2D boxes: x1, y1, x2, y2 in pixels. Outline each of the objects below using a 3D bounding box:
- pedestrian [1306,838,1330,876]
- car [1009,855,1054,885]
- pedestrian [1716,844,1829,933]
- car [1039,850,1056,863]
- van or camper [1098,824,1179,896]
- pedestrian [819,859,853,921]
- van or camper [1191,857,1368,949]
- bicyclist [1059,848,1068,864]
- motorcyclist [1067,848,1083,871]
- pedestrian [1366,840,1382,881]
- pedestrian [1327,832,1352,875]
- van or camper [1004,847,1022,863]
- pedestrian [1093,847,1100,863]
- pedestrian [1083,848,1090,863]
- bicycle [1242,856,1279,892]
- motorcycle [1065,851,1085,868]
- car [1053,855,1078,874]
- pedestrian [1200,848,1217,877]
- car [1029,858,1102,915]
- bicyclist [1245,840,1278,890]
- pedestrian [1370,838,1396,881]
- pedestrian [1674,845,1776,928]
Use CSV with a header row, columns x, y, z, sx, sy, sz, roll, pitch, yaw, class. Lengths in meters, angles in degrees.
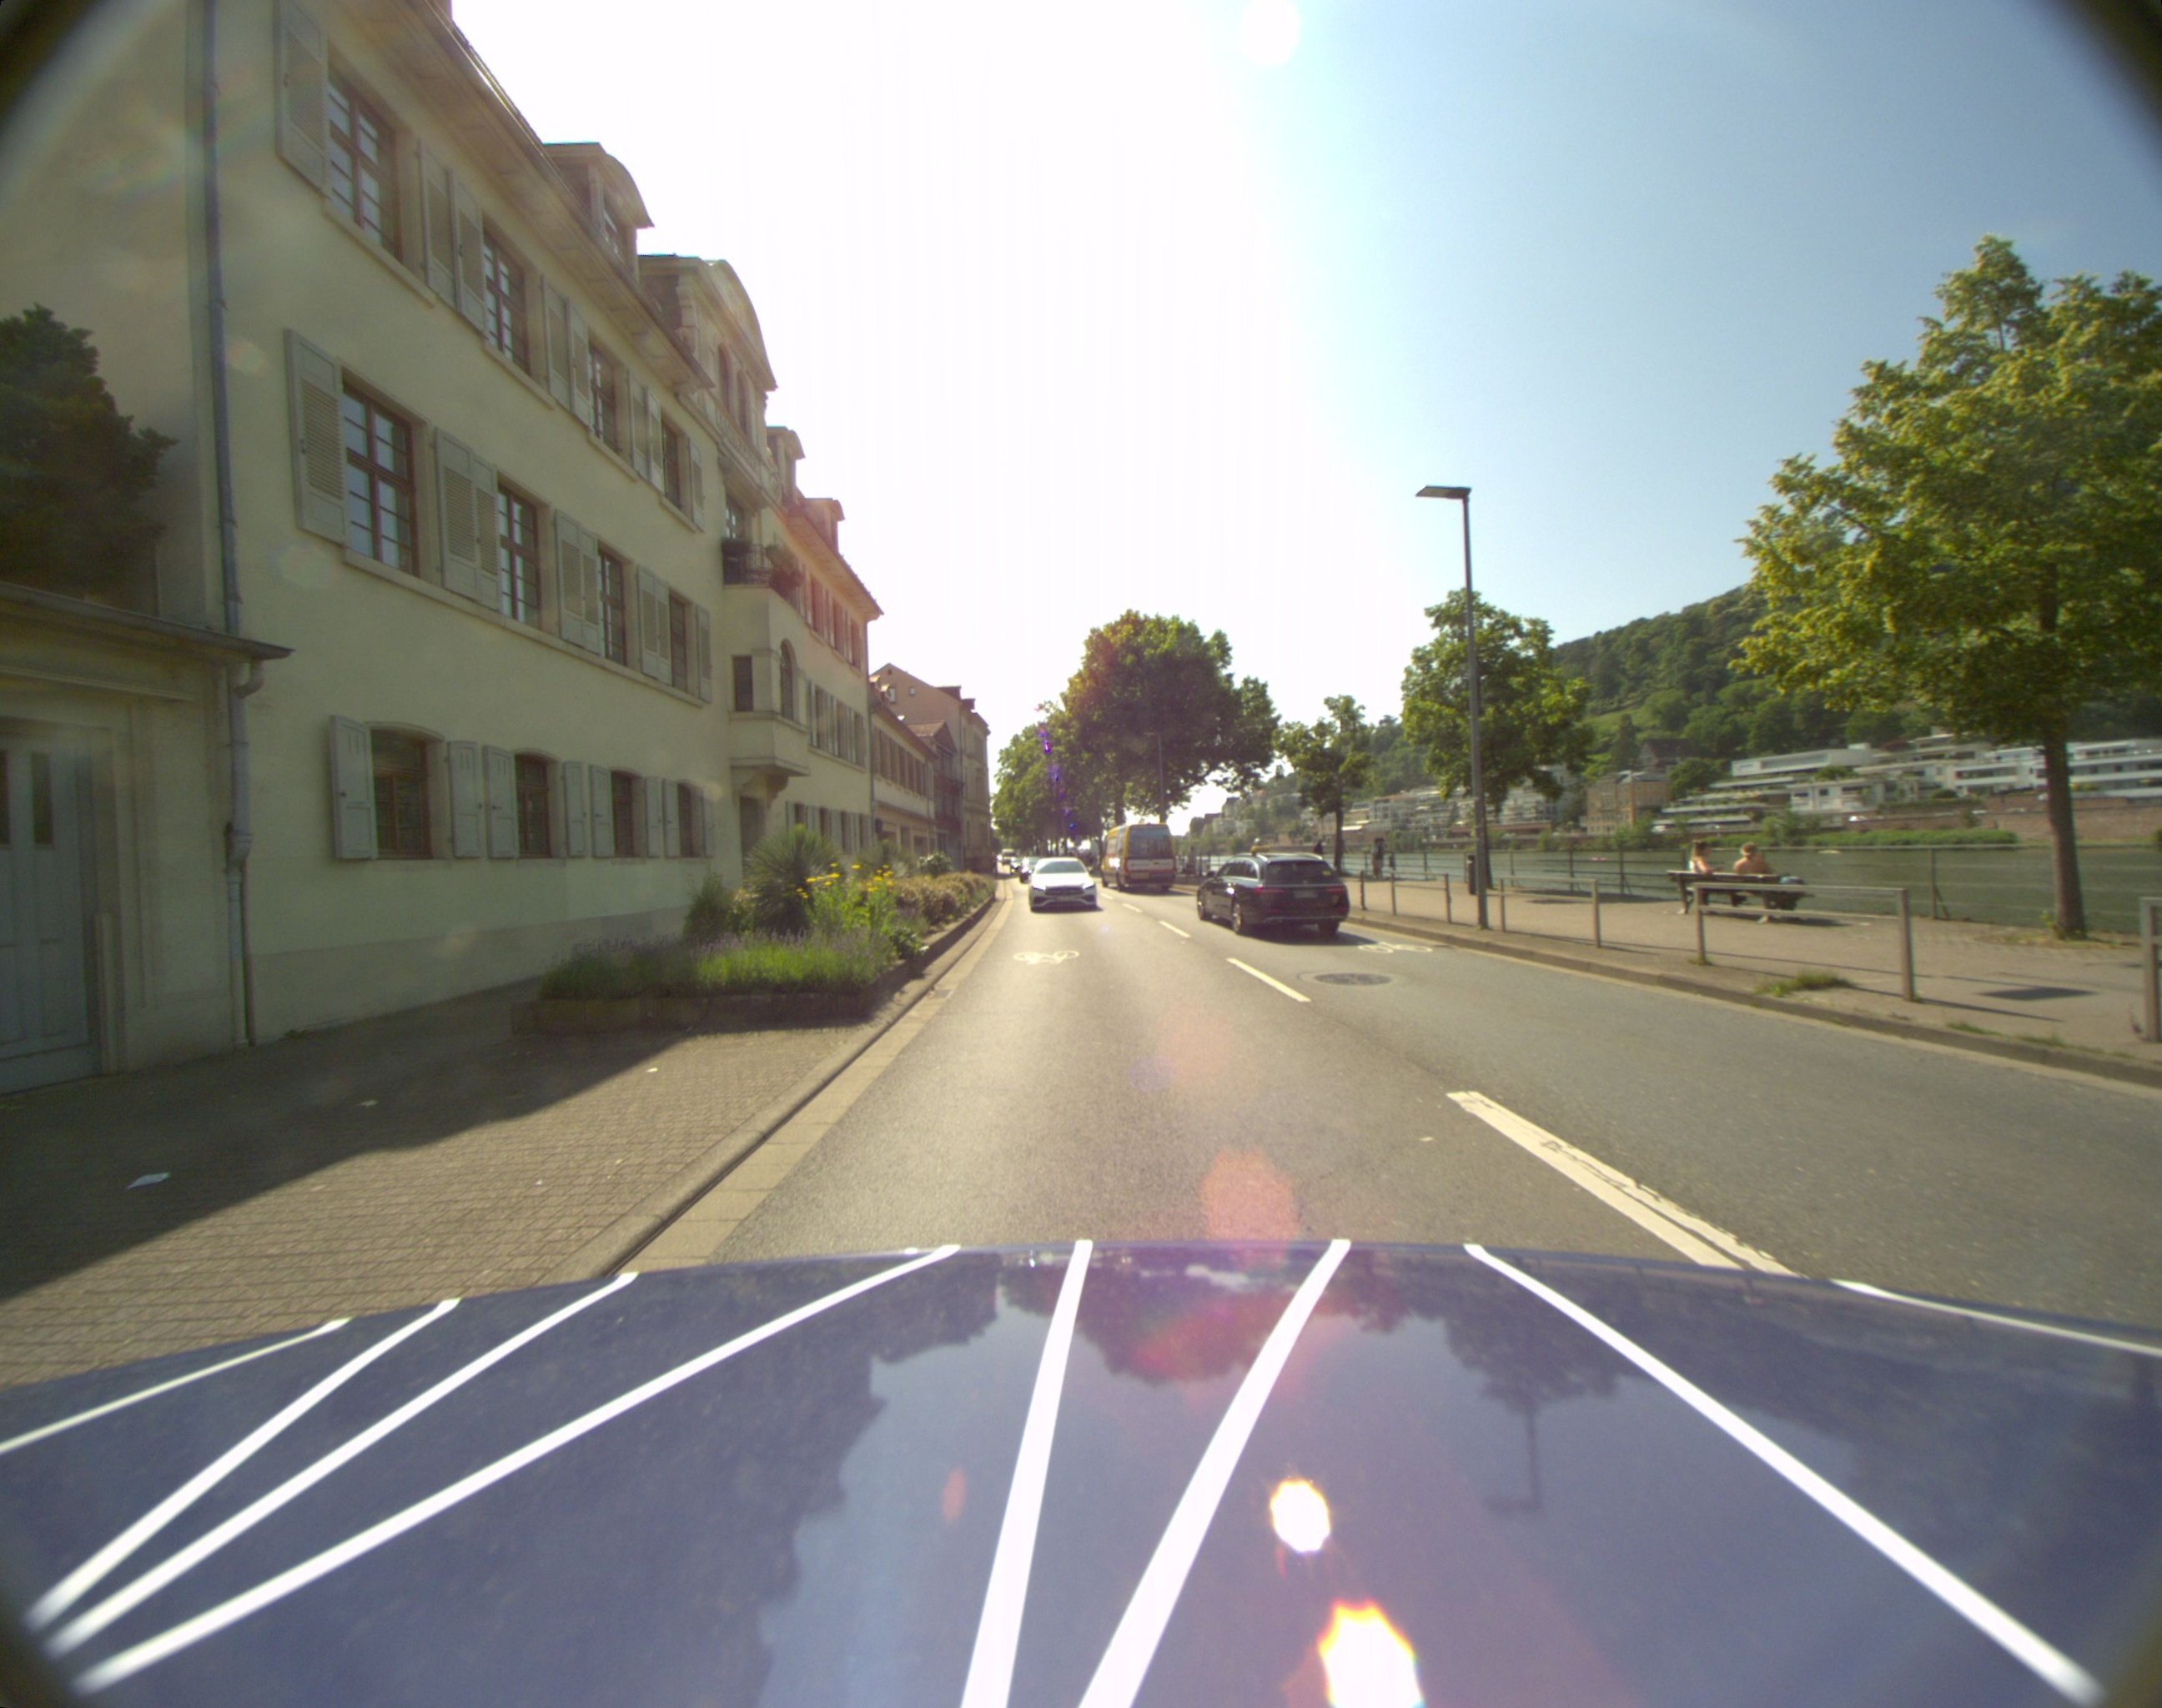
x,y,z,sx,sy,sz,roll,pitch,yaw,class
10.954,0.145,35.140,0.758,1.673,0.658,-5,1,-6,pedestrian
-2.554,0.803,40.255,1.875,1.415,4.745,-3,0,1,car
10.498,0.501,11.570,0.939,1.273,0.849,-2,1,2,pedestrian
-4.126,0.275,93.365,1.706,1.436,4.090,-3,-1,-6,car
2.176,0.193,31.176,2.093,2.542,7.087,-3,1,-5,van or camper
-6.917,0.997,21.464,0.764,1.704,0.695,1,1,-3,pedestrian
3.653,0.816,14.973,1.999,1.446,4.680,0,1,-4,van or camper
-1.687,0.215,74.561,0.769,1.522,1.025,-4,-1,-4,bicyclist
-0.425,0.393,52.748,0.881,1.574,1.024,-2,1,-7,motorcyclist
11.516,0.244,29.901,0.415,1.588,0.450,-2,1,1,pedestrian
11.805,-0.022,34.737,0.696,1.934,0.886,-2,1,-7,pedestrian
-10.138,0.128,112.766,2.439,2.271,6.199,-2,1,-7,van or camper
1.580,0.112,78.282,0.655,1.703,0.793,-1,1,-6,pedestrian
0.649,0.191,90.029,0.713,1.754,0.971,-2,1,-7,pedestrian
6.217,0.684,26.413,0.713,1.162,1.895,-3,0,-2,bicycle
-0.438,0.367,52.885,0.886,1.071,2.326,-5,0,-10,motorcycle
-1.275,0.820,61.617,1.706,1.450,3.999,-2,1,-6,car
7.113,0.461,42.435,0.764,1.577,0.695,-1,1,-7,pedestrian
-0.565,0.869,22.250,1.876,1.416,4.742,-1,0,-4,car
6.215,0.380,26.235,0.742,1.658,1.089,-2,0,-4,bicyclist
11.657,0.202,29.329,0.695,1.607,0.663,-2,1,1,pedestrian
10.547,0.511,12.482,0.939,1.273,0.849,-2,1,2,pedestrian
